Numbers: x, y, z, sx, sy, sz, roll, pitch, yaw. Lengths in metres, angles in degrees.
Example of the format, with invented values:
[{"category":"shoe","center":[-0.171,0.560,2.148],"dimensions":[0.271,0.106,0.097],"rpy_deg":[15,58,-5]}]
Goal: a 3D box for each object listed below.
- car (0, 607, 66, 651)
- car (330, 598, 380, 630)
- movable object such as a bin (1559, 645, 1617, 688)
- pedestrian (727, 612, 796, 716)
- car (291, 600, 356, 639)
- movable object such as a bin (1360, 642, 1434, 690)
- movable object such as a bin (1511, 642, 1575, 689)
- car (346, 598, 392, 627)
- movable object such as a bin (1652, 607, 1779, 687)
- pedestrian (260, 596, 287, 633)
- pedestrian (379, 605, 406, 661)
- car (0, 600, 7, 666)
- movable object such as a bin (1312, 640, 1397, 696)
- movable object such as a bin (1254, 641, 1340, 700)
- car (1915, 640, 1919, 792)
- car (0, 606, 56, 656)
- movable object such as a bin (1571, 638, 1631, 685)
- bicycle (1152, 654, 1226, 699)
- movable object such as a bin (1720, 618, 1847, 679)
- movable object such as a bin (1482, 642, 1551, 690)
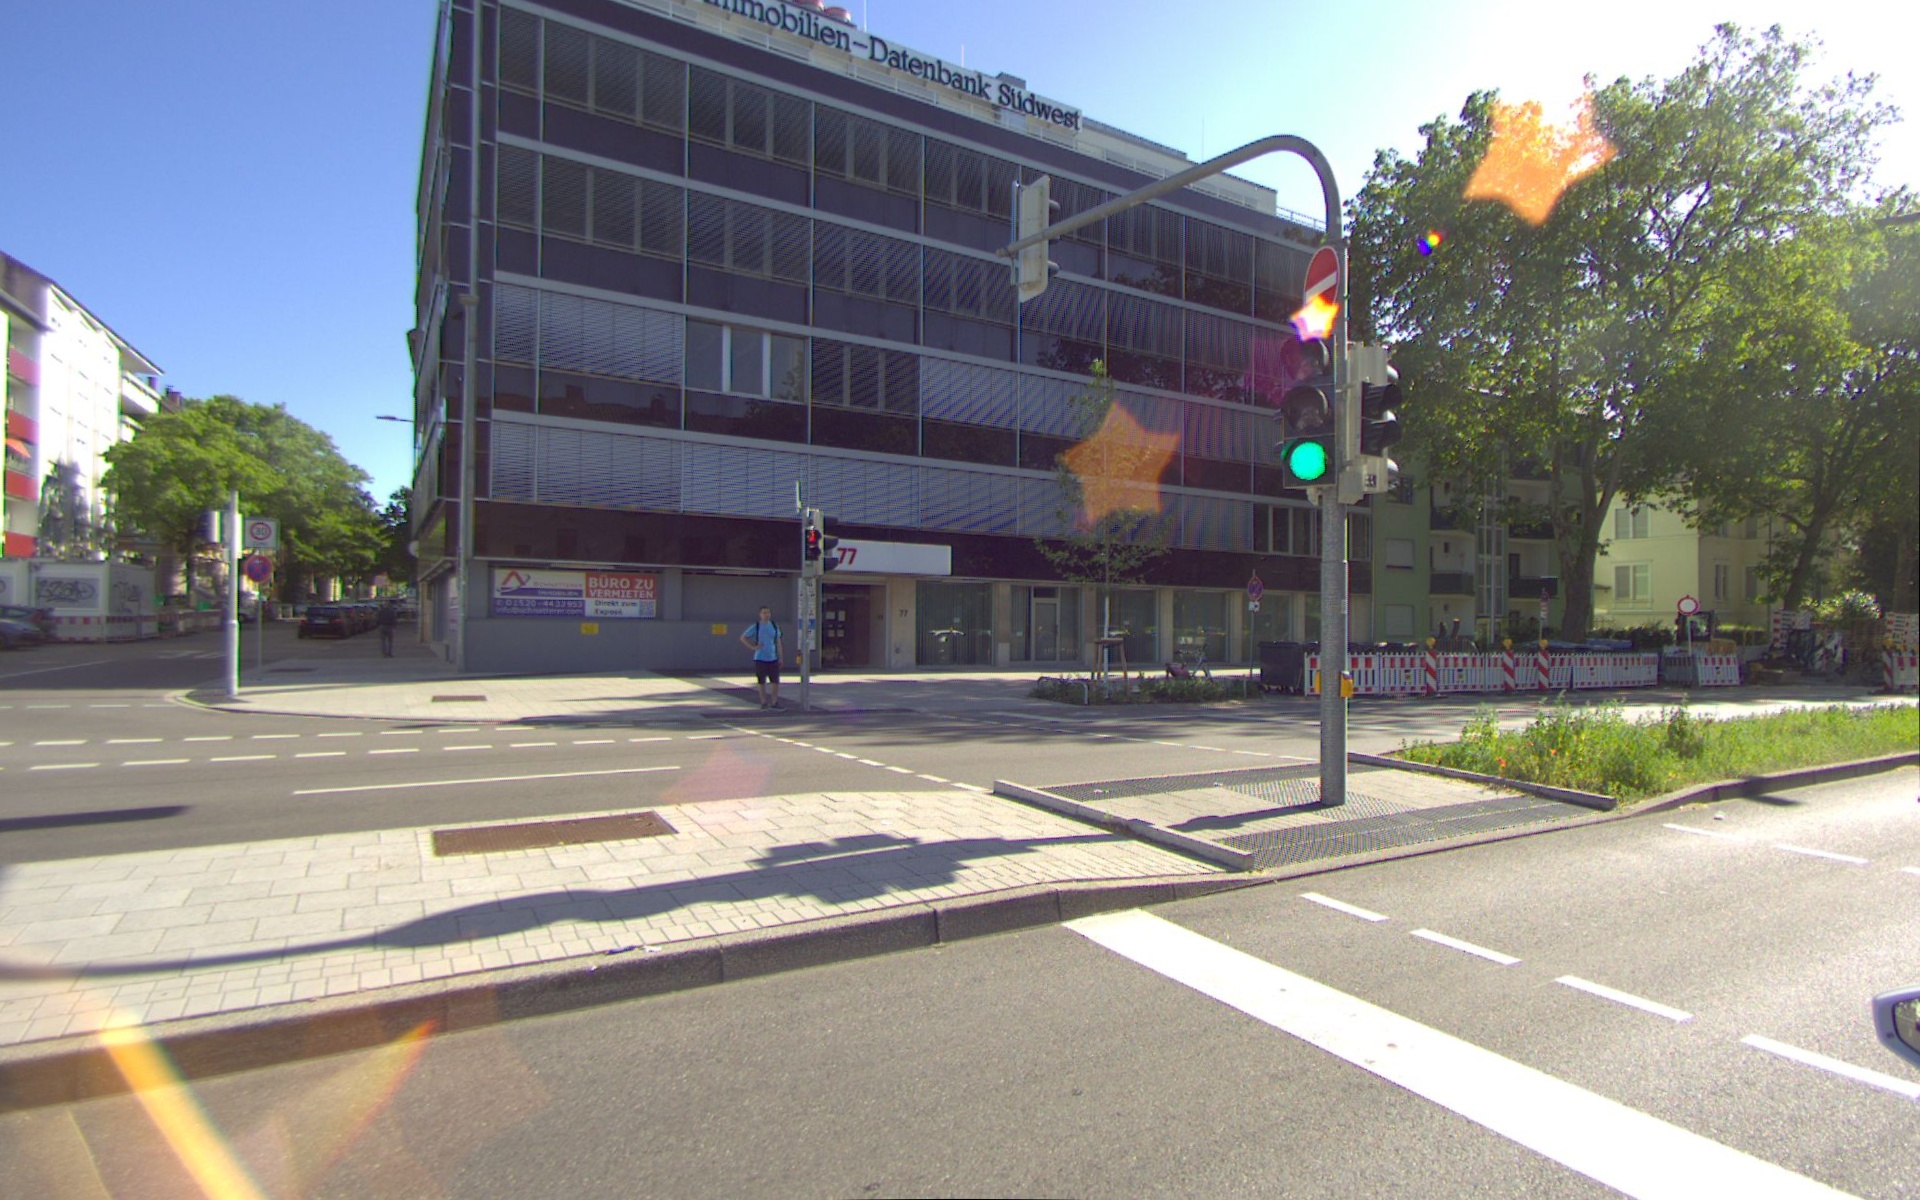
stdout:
[{"category":"car","center":[-32.806,0.956,33.600],"dimensions":[3.950,1.481,1.836],"rpy_deg":[1,-1,-28]},{"category":"car","center":[-35.526,0.789,59.061],"dimensions":[1.972,1.796,3.977],"rpy_deg":[1,0,-23]},{"category":"movable object such as a bin","center":[19.529,2.045,31.237],"dimensions":[1.523,1.287,0.975],"rpy_deg":[1,-1,-31]},{"category":"pedestrian","center":[-3.436,1.088,17.342],"dimensions":[0.998,1.733,0.863],"rpy_deg":[1,-1,-24]},{"category":"car","center":[-28.344,0.861,44.826],"dimensions":[1.974,1.623,3.974],"rpy_deg":[1,-1,-26]},{"category":"movable object such as a bin","center":[11.872,1.779,27.330],"dimensions":[1.226,1.219,1.389],"rpy_deg":[1,-1,-28]},{"category":"movable object such as a bin","center":[17.488,1.950,30.159],"dimensions":[0.924,1.355,1.404],"rpy_deg":[1,-1,-28]},{"category":"car","center":[-37.287,0.757,63.497],"dimensions":[1.972,1.796,3.977],"rpy_deg":[1,0,-23]},{"category":"movable object such as a bin","center":[27.805,1.677,36.916],"dimensions":[5.299,2.742,2.133],"rpy_deg":[2,-1,-34]},{"category":"pedestrian","center":[-38.394,0.821,56.216],"dimensions":[1.137,2.040,1.443],"rpy_deg":[1,-1,-31]},{"category":"pedestrian","center":[-17.309,0.993,30.630],"dimensions":[0.693,1.680,0.740],"rpy_deg":[1,-1,-32]},{"category":"car","center":[-30.066,0.936,28.684],"dimensions":[3.745,1.981,1.690],"rpy_deg":[1,-1,-28]},{"category":"movable object such as a bin","center":[10.385,1.762,26.469],"dimensions":[1.833,1.406,1.209],"rpy_deg":[1,-1,-29]},{"category":"movable object such as a bin","center":[8.460,1.744,25.185],"dimensions":[1.833,1.406,1.109],"rpy_deg":[1,-1,-29]},{"category":"car","center":[11.424,1.110,9.776],"dimensions":[4.572,1.430,1.916],"rpy_deg":[1,-2,-31]},{"category":"car","center":[-31.350,0.956,31.218],"dimensions":[4.518,1.549,1.752],"rpy_deg":[1,-1,-28]},{"category":"movable object such as a bin","center":[20.813,1.978,32.622],"dimensions":[1.608,1.441,1.259],"rpy_deg":[0,-1,34]},{"category":"bicycle","center":[5.701,1.875,24.953],"dimensions":[1.857,1.051,0.624],"rpy_deg":[1,-1,-30]},{"category":"movable object such as a bin","center":[32.968,1.929,40.187],"dimensions":[5.530,2.308,1.986],"rpy_deg":[2,-3,-29]},{"category":"movable object such as a bin","center":[16.476,1.941,29.766],"dimensions":[1.142,1.355,1.404],"rpy_deg":[1,-1,-28]}]
